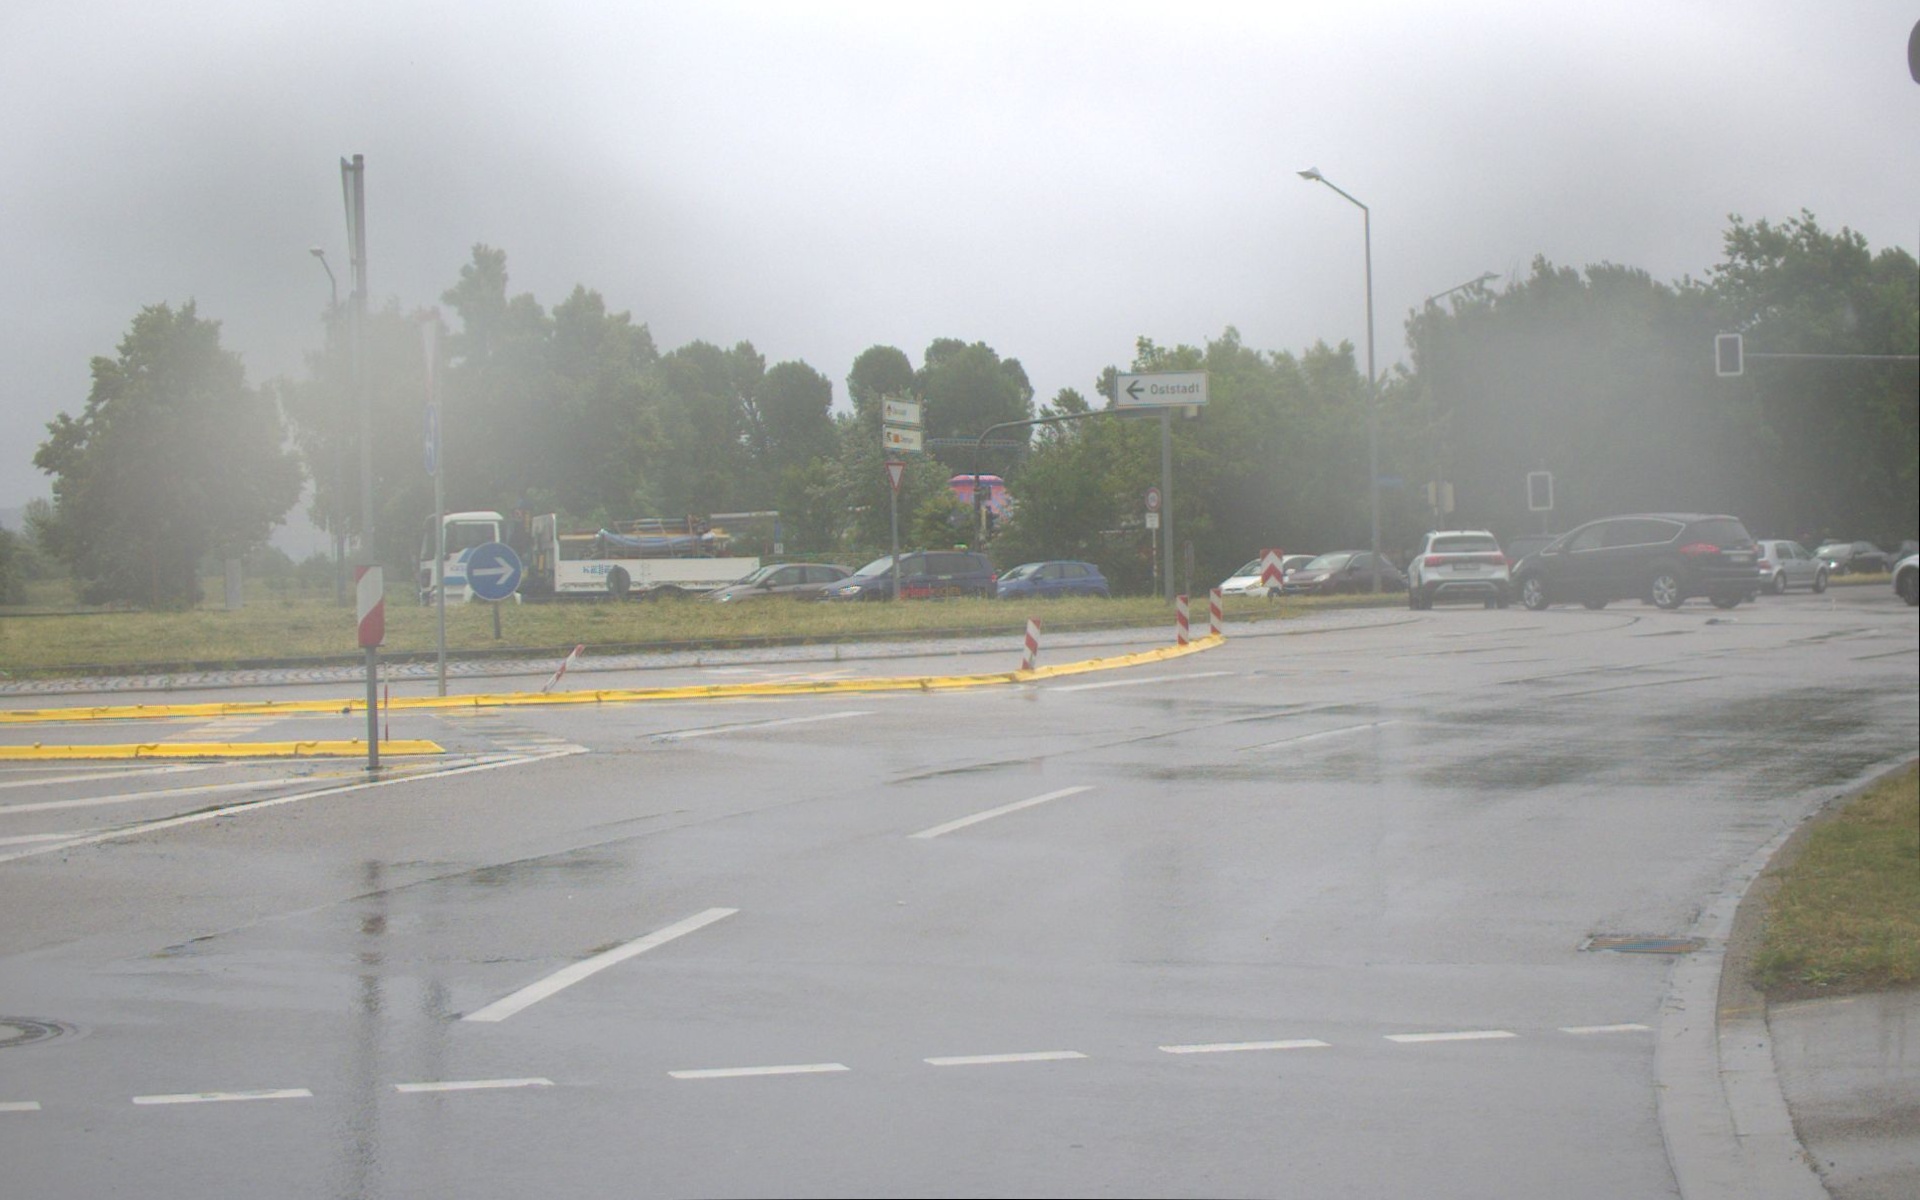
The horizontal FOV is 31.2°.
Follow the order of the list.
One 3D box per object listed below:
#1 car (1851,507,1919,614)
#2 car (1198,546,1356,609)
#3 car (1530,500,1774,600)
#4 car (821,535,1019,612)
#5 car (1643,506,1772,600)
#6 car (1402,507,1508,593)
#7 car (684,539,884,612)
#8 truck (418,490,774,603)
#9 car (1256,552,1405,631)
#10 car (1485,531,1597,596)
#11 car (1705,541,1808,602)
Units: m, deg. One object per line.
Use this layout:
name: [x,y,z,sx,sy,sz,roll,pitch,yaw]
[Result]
car: [17.544,-0.653,57.773,1.784,1.804,4.836,0,1,-39]
car: [9.152,-0.643,98.907,4.853,1.738,1.777,0,1,-44]
car: [11.902,-0.866,59.306,1.783,1.642,4.000,0,1,-34]
car: [-0.909,-0.614,81.219,1.776,1.738,4.853,1,1,43]
car: [16.692,-1.029,76.662,1.786,2.029,3.994,1,1,27]
car: [9.828,-0.982,68.460,1.681,1.642,3.947,1,1,3]
car: [-4.340,-0.594,85.346,4.852,1.738,1.777,0,1,-40]
truck: [-9.246,-1.342,87.520,8.766,2.702,2.001,1,0,-17]
car: [9.748,-0.225,90.289,3.989,2.007,1.676,0,1,-43]
car: [13.677,-0.847,80.802,1.691,1.487,3.246,1,1,27]
car: [20.802,-0.747,89.699,1.691,1.487,3.246,-1,1,31]
